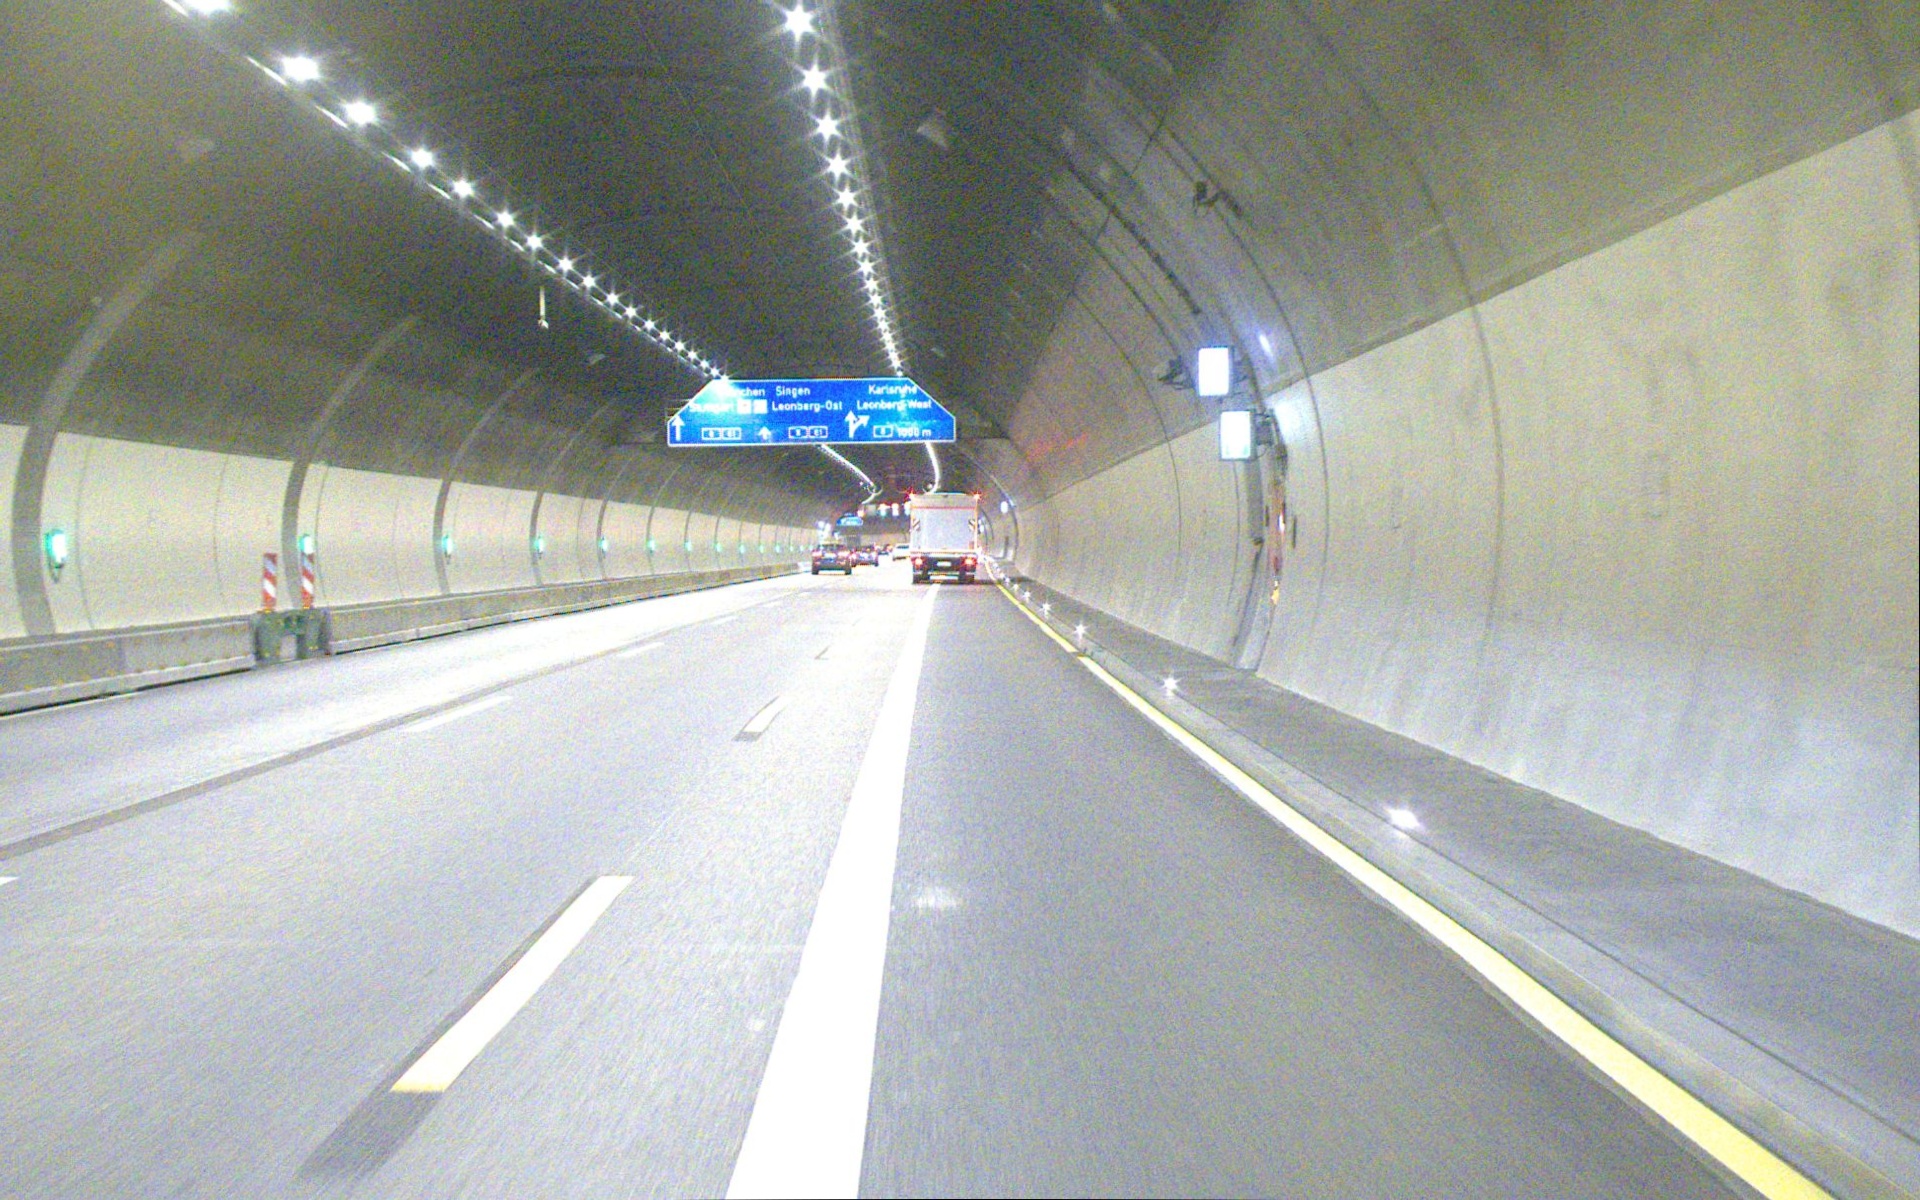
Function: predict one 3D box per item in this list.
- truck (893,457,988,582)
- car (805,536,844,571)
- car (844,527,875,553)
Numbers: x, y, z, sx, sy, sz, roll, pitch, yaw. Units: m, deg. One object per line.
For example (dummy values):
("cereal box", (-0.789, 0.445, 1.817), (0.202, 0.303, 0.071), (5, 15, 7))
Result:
("truck", (-0.903, -3.203, 137.840), (3.278, 4.634, 17.289), (-1, 1, -2))
("car", (-6.518, -2.249, 165.171), (1.812, 1.612, 4.001), (0, 1, -2))
("car", (-6.503, -3.872, 221.972), (1.812, 1.514, 4.001), (0, 3, -4))
